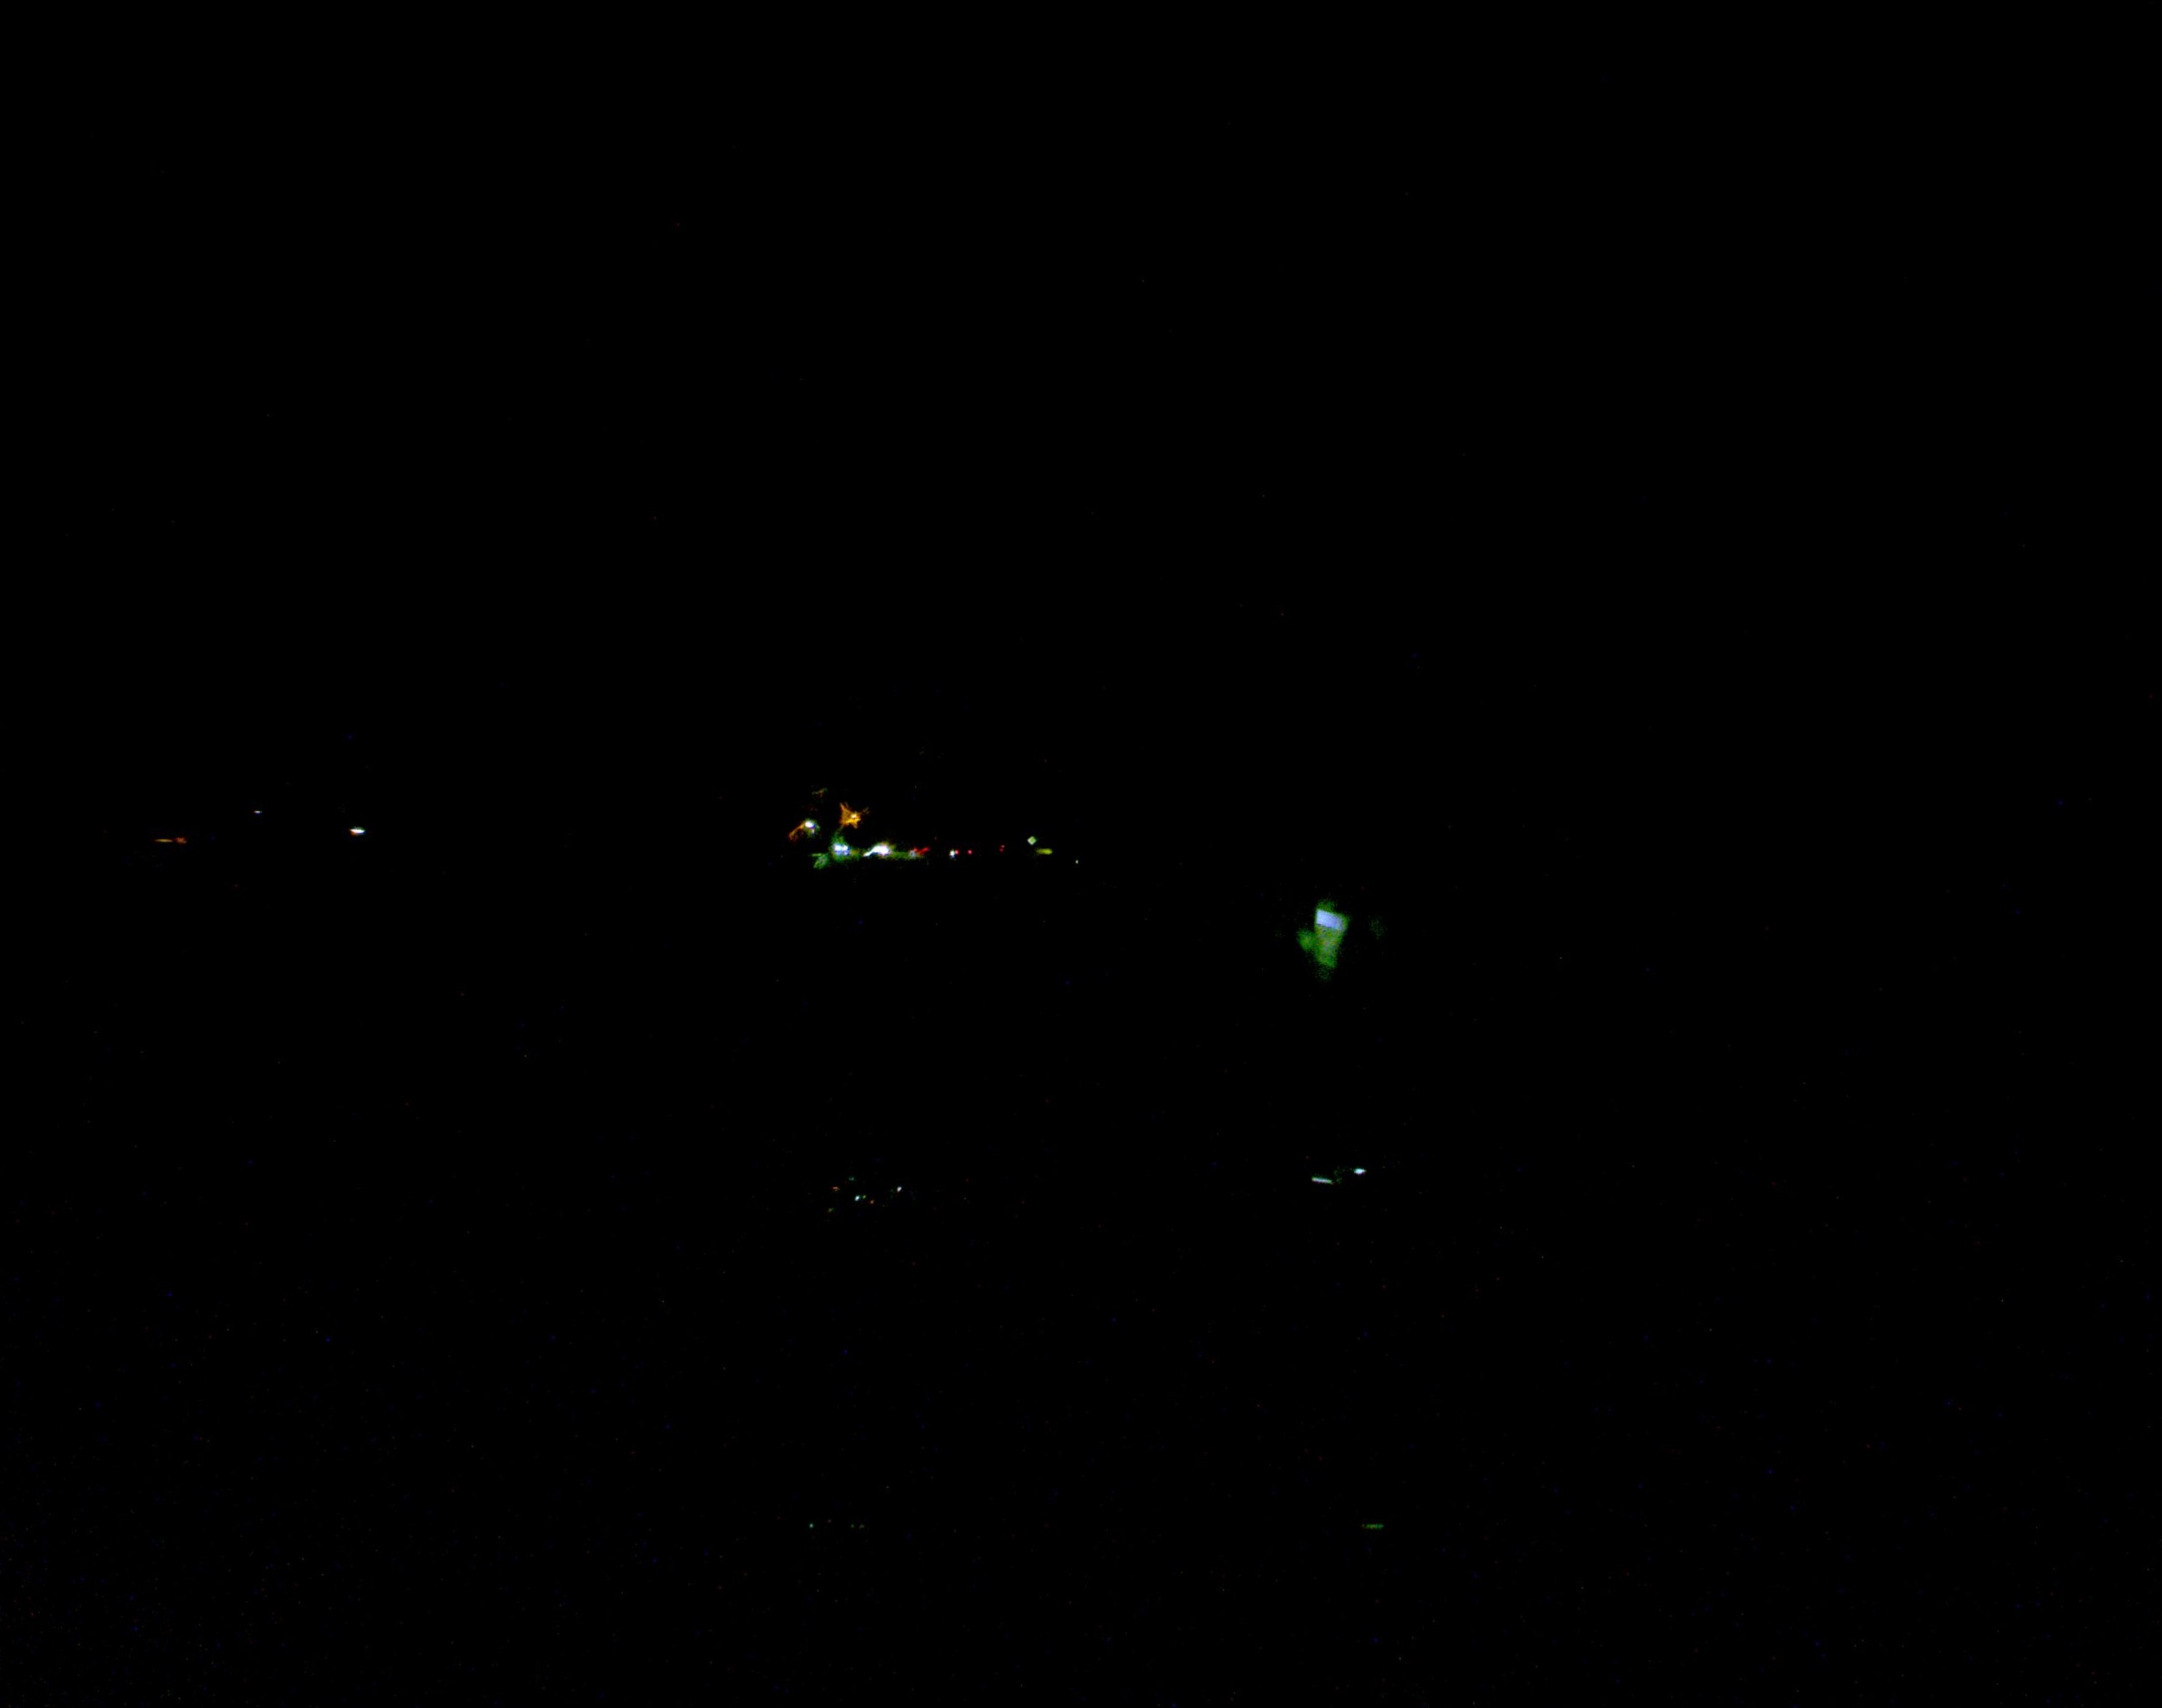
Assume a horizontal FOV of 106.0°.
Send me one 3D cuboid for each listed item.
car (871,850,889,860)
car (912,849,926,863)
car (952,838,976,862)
[{"bbox_3d":[-30.692,0.111,124.365,1.964,1.522,4.366,1,-1,-22],"label":"car"},{"bbox_3d":[-24.020,0.346,120.766,1.995,2.014,3.984,0,-1,-12],"label":"car"},{"bbox_3d":[-13.879,-0.558,96.323,2.539,2.497,5.696,0,3,-11],"label":"car"}]
